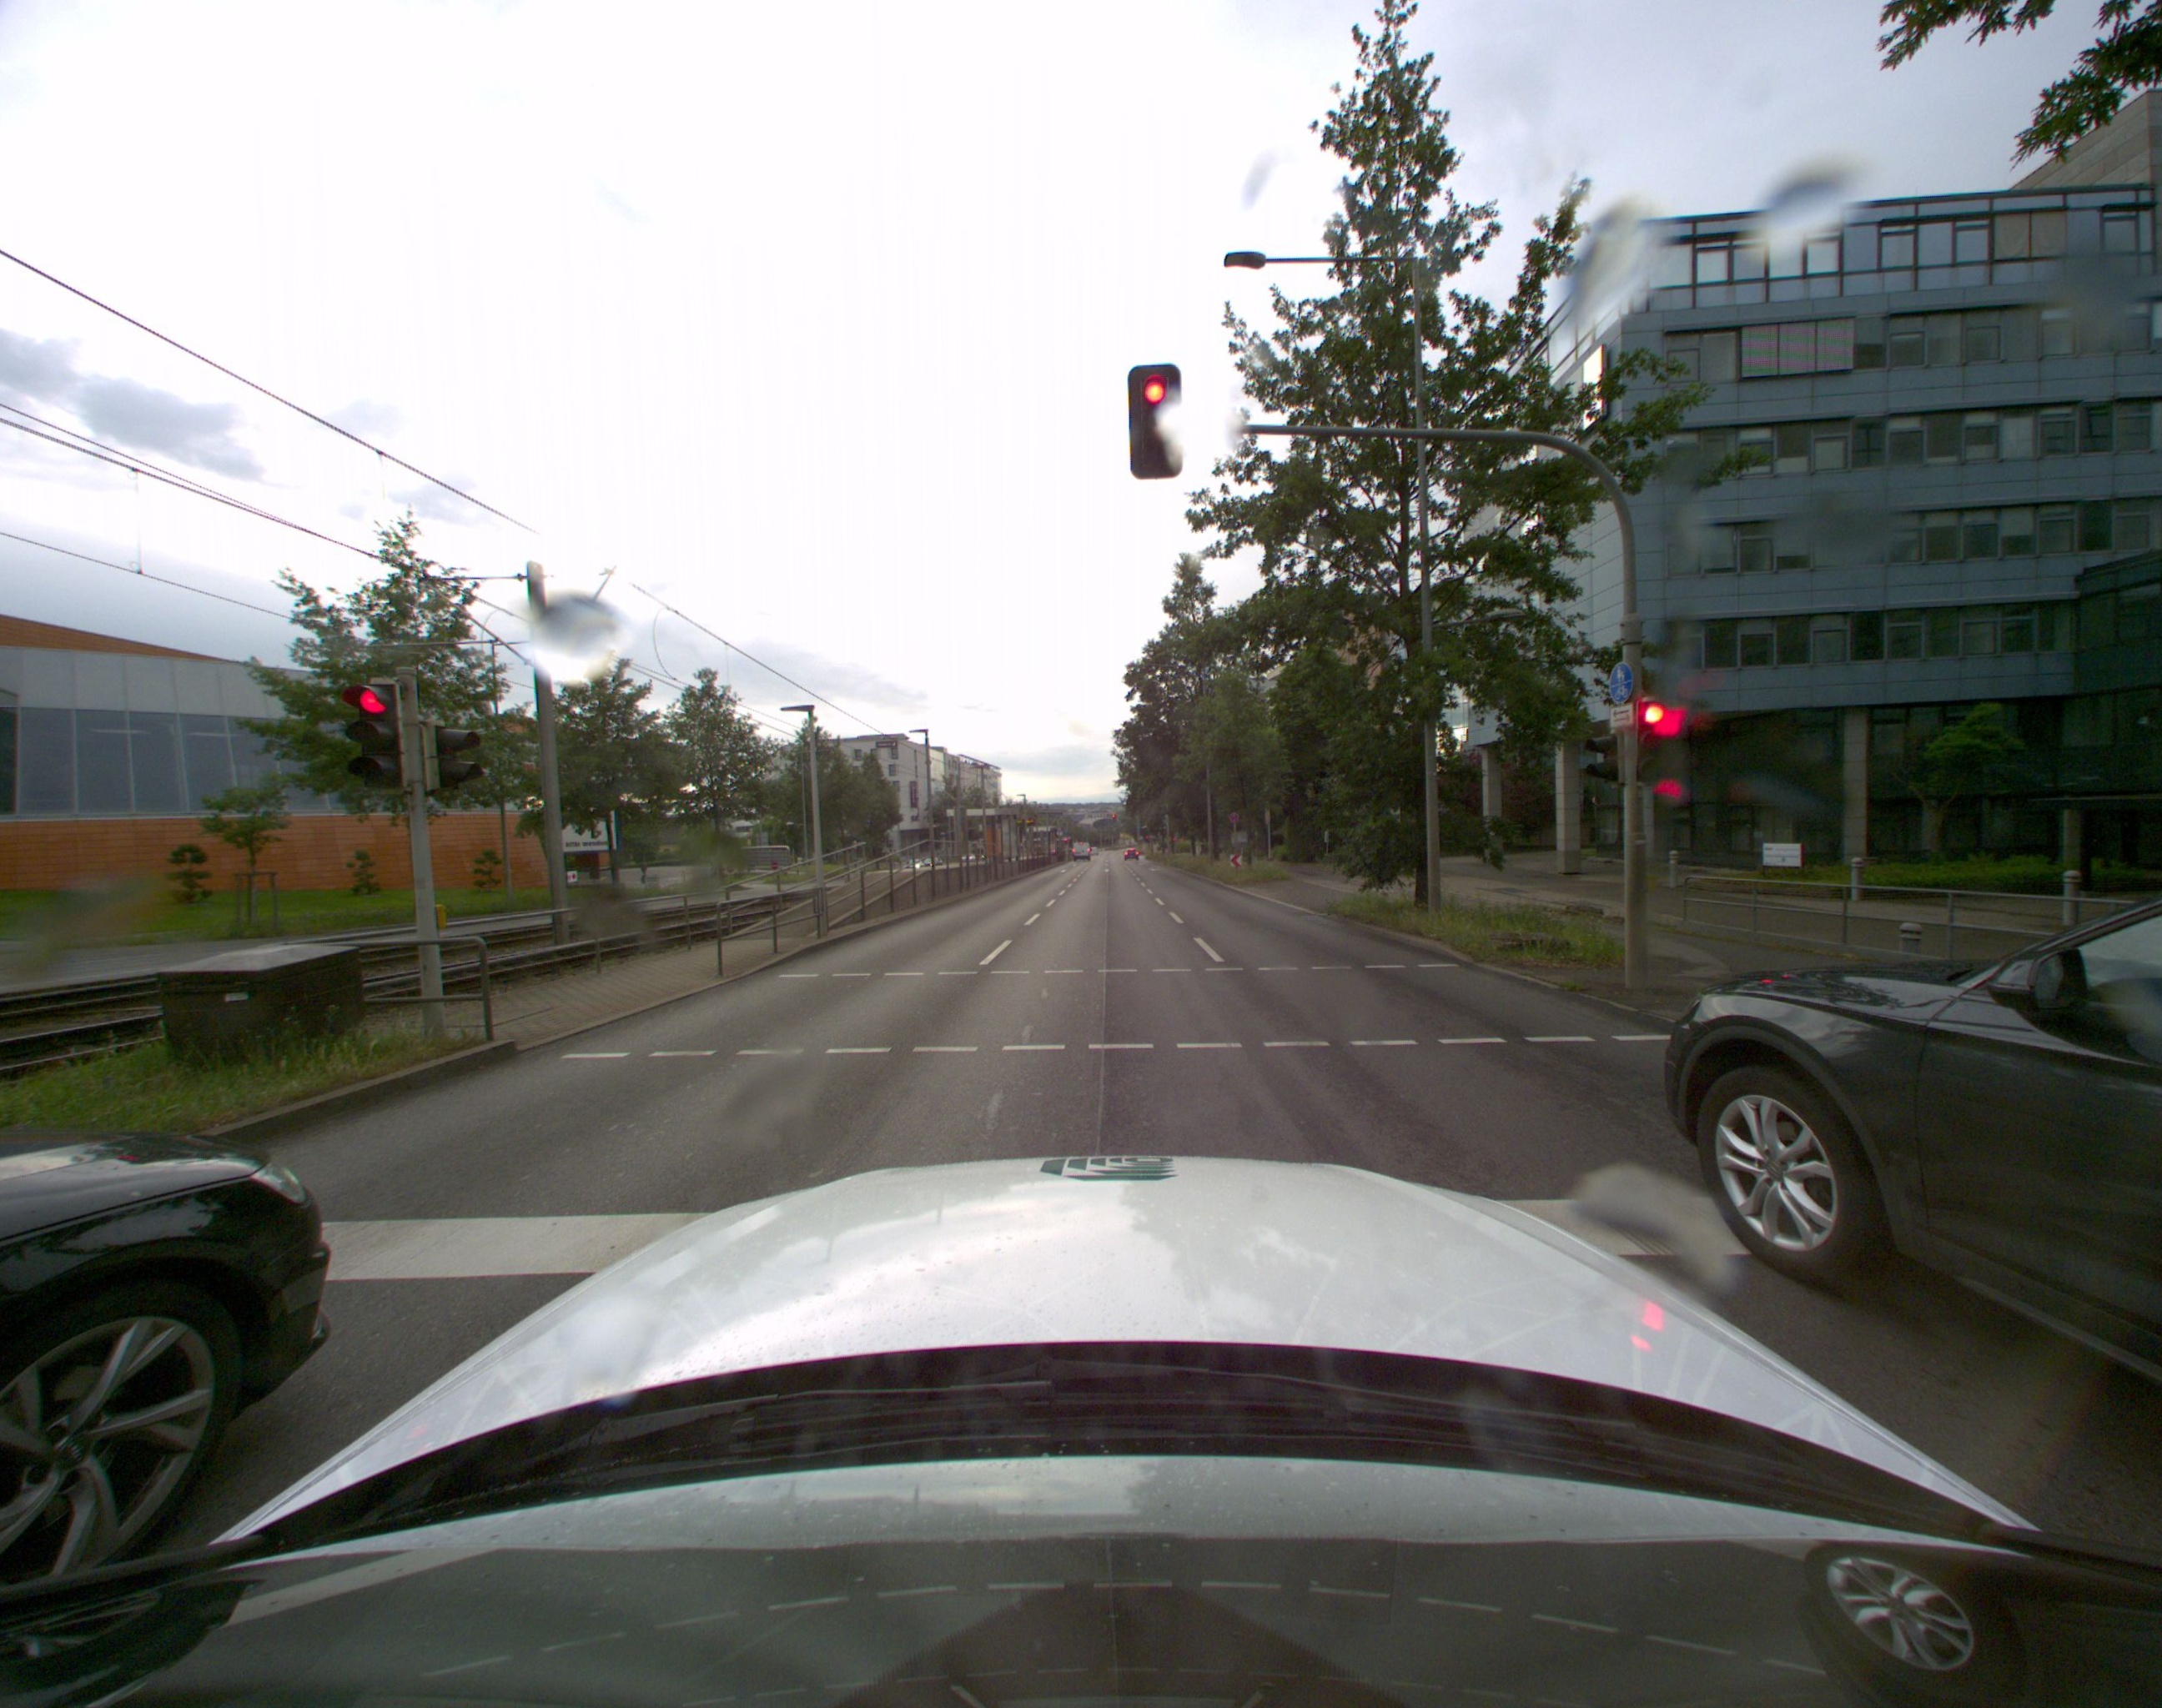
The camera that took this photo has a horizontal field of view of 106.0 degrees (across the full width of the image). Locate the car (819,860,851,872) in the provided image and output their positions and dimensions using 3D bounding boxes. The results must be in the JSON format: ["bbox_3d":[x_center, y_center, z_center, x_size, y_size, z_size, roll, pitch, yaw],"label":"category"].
[{"bbox_3d":[-29.264,1.399,96.775,3.341,1.387,1.440,-1,0,18],"label":"car"}]

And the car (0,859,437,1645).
[{"bbox_3d":[-2.968,0.777,0.283,1.774,1.466,4.515,-1,0,2],"label":"car"}]

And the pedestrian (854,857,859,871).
[{"bbox_3d":[-30.982,1.379,112.362,0.473,1.920,0.490,-1,0,1],"label":"pedestrian"}]

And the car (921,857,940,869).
[{"bbox_3d":[-18.028,1.035,97.623,1.562,1.378,3.518,-2,0,0],"label":"car"}]

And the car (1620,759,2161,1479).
[{"bbox_3d":[3.300,0.577,1.444,1.811,1.612,4.472,-1,0,2],"label":"car"}]

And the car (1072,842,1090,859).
[{"bbox_3d":[-0.009,-0.450,102.693,2.085,2.053,4.608,-1,0,2],"label":"car"}]

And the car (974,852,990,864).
[{"bbox_3d":[-13.039,0.475,107.175,1.651,1.436,3.865,-4,0,-11],"label":"car"}]

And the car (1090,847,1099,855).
[{"bbox_3d":[2.689,-0.593,159.582,1.776,1.390,4.002,-2,0,2],"label":"car"}]

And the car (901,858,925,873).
[{"bbox_3d":[-17.860,1.169,86.711,1.645,1.436,3.878,-4,0,-1],"label":"car"}]

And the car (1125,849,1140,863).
[{"bbox_3d":[6.506,0.188,102.832,1.767,1.691,3.847,-1,0,2],"label":"car"}]
